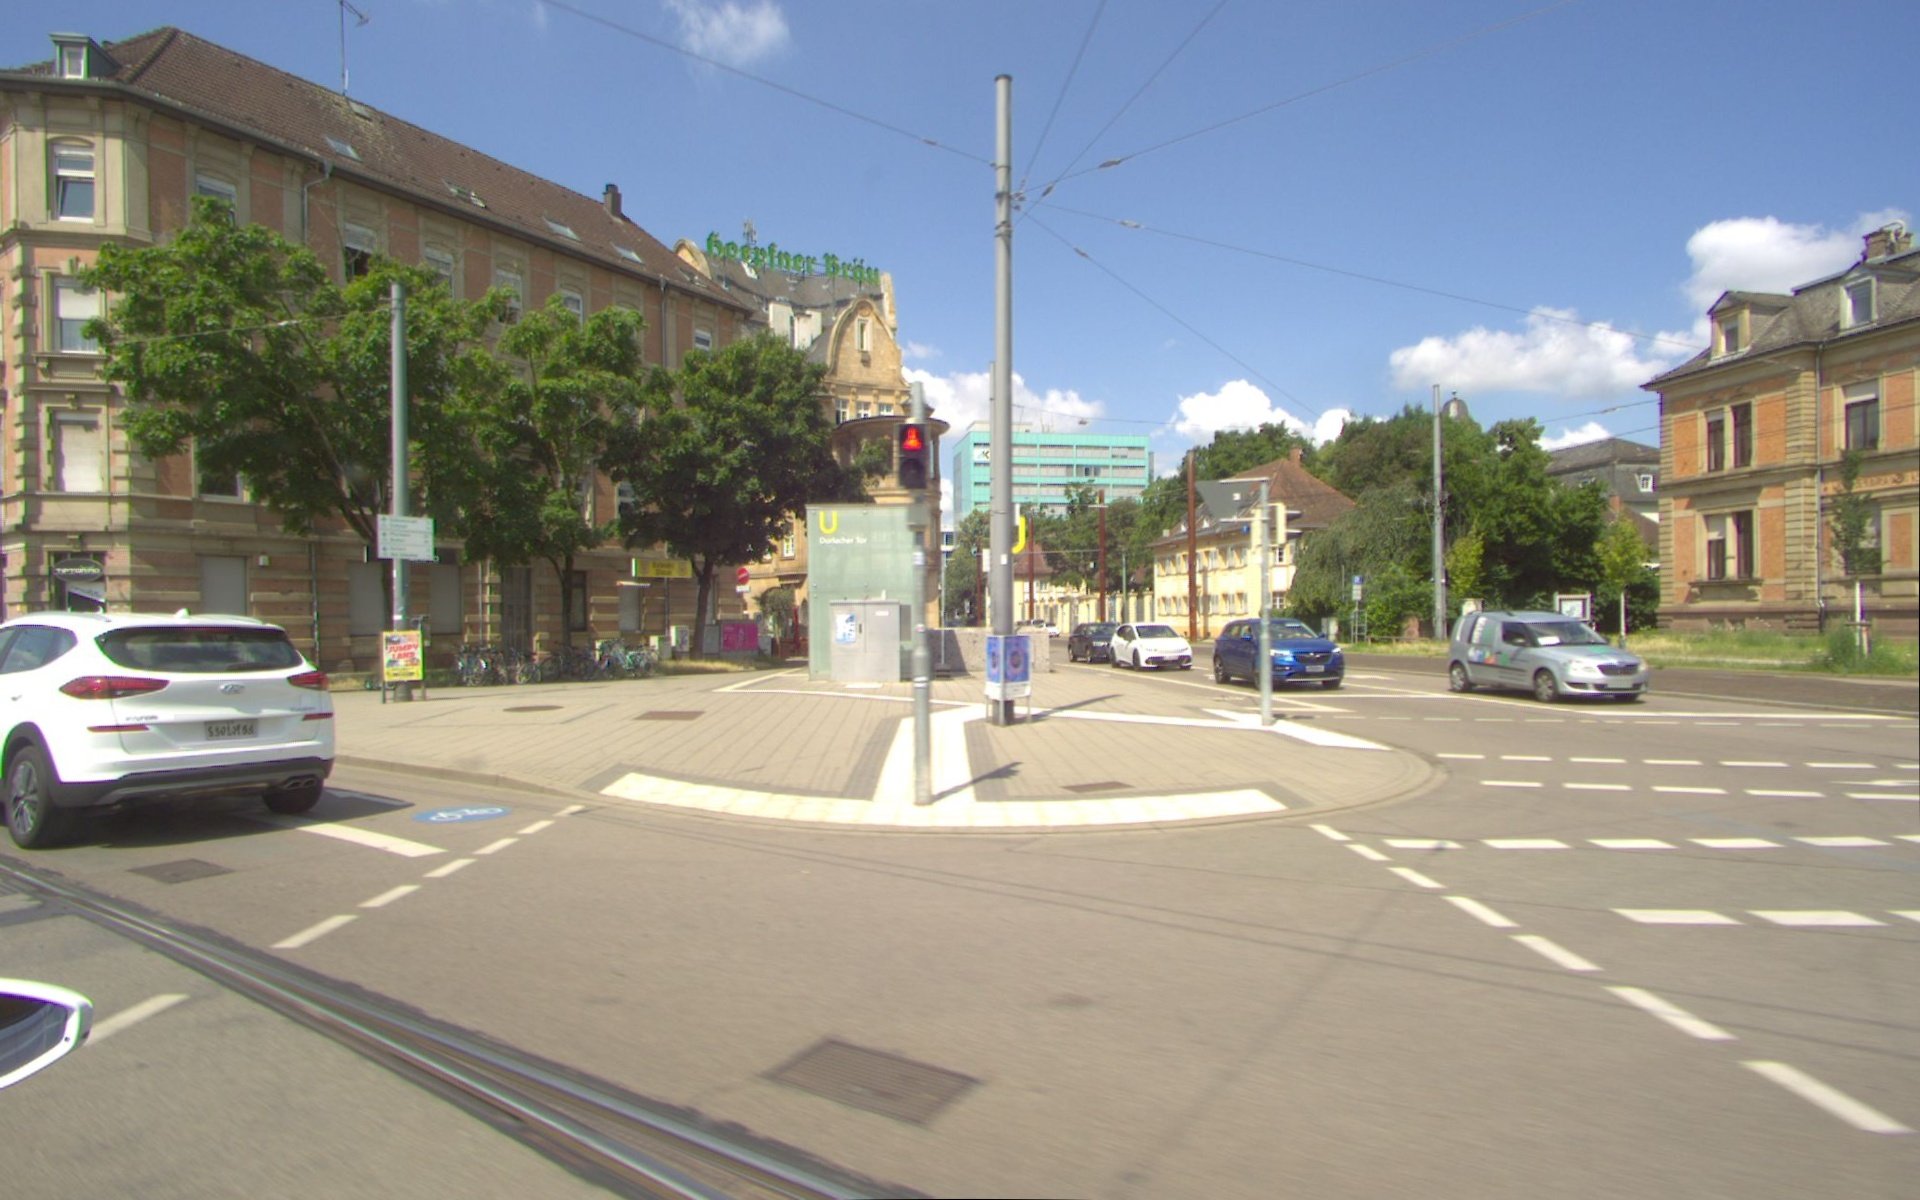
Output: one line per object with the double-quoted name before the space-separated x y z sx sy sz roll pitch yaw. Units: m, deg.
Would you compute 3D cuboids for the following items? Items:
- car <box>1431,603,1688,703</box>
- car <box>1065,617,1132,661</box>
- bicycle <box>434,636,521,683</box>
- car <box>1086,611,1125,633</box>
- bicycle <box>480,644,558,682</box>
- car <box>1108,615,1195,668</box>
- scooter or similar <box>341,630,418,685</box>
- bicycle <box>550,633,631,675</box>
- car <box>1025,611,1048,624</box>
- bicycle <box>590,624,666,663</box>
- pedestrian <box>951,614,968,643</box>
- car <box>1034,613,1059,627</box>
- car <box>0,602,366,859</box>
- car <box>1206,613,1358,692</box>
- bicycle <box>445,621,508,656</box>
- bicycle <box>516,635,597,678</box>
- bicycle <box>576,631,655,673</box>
"car" 10.873 0.892 18.615 1.838 1.608 4.426 -1 0 -5
"car" 5.420 1.499 39.755 1.838 1.608 4.426 -1 0 -3
"bicycle" -12.143 1.470 25.163 2.234 1.096 1.021 -1 1 36
"car" 12.155 1.839 83.874 1.963 1.795 3.994 0 0 -14
"bicycle" -11.518 1.622 26.136 2.258 0.891 0.839 -1 1 36
"car" 6.234 1.325 32.992 1.901 1.586 3.995 -1 0 -3
"scooter or similar" -13.663 1.331 23.571 1.368 1.219 0.947 -1 1 27
"bicycle" -10.253 1.477 27.739 2.540 1.068 0.789 -1 1 36
"car" 8.157 1.869 107.582 1.649 1.405 3.793 0 0 -9
"bicycle" -9.834 1.265 29.579 2.540 1.068 0.789 -1 1 36
"pedestrian" -0.030 1.536 54.266 0.880 1.579 0.864 -1 0 4
"car" 8.791 2.045 102.413 1.649 1.405 3.794 -1 -1 -9
"car" -7.036 0.923 8.306 4.118 1.654 1.851 -1 -2 30
"car" 7.389 1.139 23.501 1.838 1.571 4.426 -3 0 -4
"bicycle" -15.357 1.212 31.825 0.756 1.064 1.638 0 0 41
"bicycle" -10.958 1.503 27.168 2.540 1.084 0.789 -1 1 36
"bicycle" -9.823 1.467 28.523 2.540 1.105 0.789 -1 1 36
